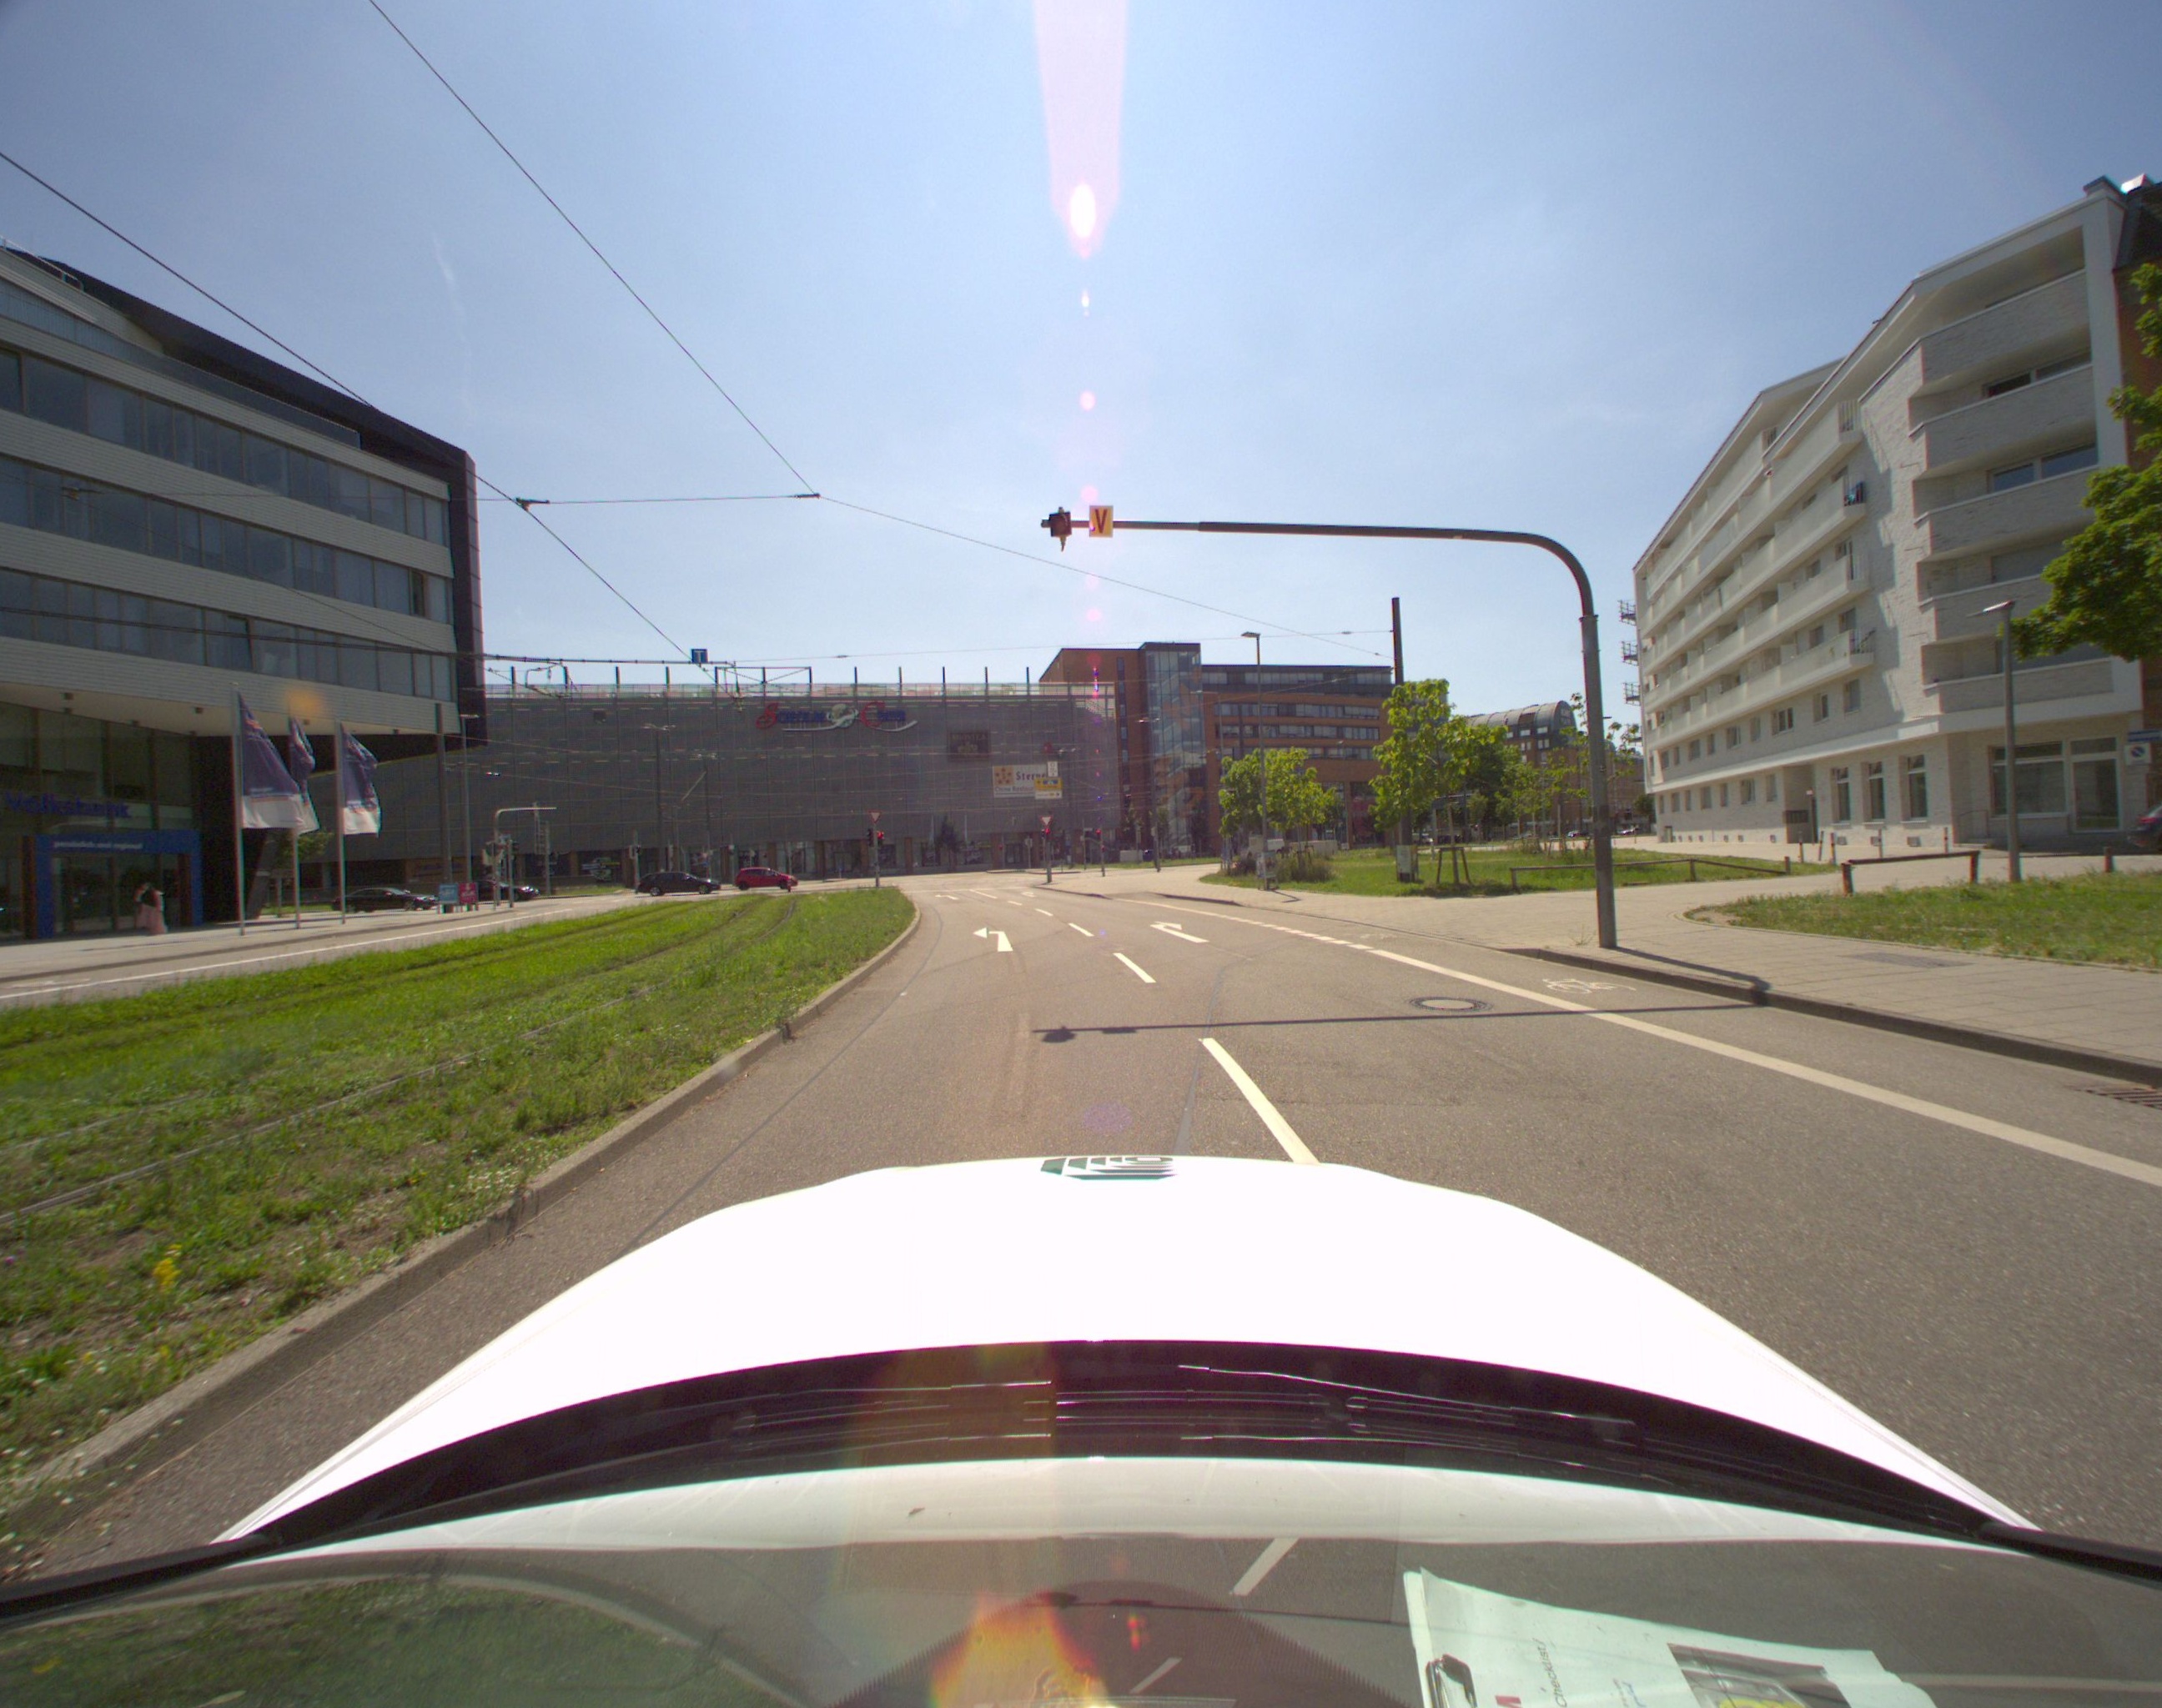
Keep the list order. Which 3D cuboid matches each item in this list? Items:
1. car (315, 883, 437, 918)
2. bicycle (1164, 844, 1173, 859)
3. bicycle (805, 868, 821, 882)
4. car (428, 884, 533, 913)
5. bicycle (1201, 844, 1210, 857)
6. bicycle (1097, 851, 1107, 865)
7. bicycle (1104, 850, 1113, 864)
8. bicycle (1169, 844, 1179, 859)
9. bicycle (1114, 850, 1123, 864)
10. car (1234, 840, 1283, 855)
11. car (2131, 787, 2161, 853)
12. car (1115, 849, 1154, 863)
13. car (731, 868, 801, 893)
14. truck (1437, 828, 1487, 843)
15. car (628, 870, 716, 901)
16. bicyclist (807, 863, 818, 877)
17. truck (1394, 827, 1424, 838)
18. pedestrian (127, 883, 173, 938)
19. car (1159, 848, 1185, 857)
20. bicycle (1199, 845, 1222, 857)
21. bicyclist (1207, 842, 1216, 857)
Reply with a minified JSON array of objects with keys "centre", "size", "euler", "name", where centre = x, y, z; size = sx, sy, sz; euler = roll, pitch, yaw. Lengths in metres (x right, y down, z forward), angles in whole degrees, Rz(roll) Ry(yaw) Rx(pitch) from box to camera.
[{"centre":[-38.606,2.519,44.742],"size":[4.559,1.576,1.989],"euler":[-2,0,-17],"name":"car"},{"centre":[11.585,-0.325,107.588],"size":[0.485,2.013,2.337],"euler":[-2,0,-11],"name":"bicycle"},{"centre":[-29.316,2.314,89.163],"size":[1.060,1.390,3.017],"euler":[-2,0,-6],"name":"bicycle"},{"centre":[-36.667,2.698,49.870],"size":[4.776,1.460,1.877],"euler":[-2,0,-17],"name":"car"},{"centre":[16.629,-0.455,108.727],"size":[0.485,1.796,2.250],"euler":[-2,0,-11],"name":"bicycle"},{"centre":[2.684,0.460,104.327],"size":[0.599,1.731,2.251],"euler":[-2,0,-12],"name":"bicycle"},{"centre":[3.515,0.417,104.512],"size":[0.599,1.731,2.251],"euler":[-2,0,-12],"name":"bicycle"},{"centre":[12.287,-0.354,107.744],"size":[0.485,2.013,2.337],"euler":[-2,0,-11],"name":"bicycle"},{"centre":[4.762,0.381,104.347],"size":[0.599,1.731,2.251],"euler":[-2,0,-12],"name":"bicycle"},{"centre":[20.956,-0.761,96.066],"size":[5.480,1.668,1.987],"euler":[-2,0,-19],"name":"car"},{"centre":[28.516,-0.888,19.511],"size":[1.703,1.624,4.084],"euler":[-2,0,-37],"name":"car"},{"centre":[5.896,0.231,89.886],"size":[3.994,1.442,1.735],"euler":[-2,0,-15],"name":"car"},{"centre":[-20.912,1.737,54.247],"size":[4.136,1.508,1.831],"euler":[-2,0,-18],"name":"car"},{"centre":[75.822,-3.663,162.350],"size":[2.008,2.809,9.142],"euler":[-2,0,-34],"name":"truck"},{"centre":[-24.831,1.881,49.637],"size":[4.542,1.508,1.829],"euler":[-3,1,-21],"name":"car"},{"centre":[-29.301,1.741,88.889],"size":[1.038,1.571,0.775],"euler":[-2,0,-7],"name":"bicyclist"},{"centre":[65.166,-4.182,161.954],"size":[1.891,2.013,5.318],"euler":[-2,0,-38],"name":"truck"},{"centre":[-28.862,1.735,25.270],"size":[0.753,1.630,0.905],"euler":[-2,0,-38],"name":"pedestrian"},{"centre":[11.648,-0.188,104.539],"size":[3.000,1.035,1.342],"euler":[-2,0,-17],"name":"car"},{"centre":[17.178,-0.363,107.982],"size":[2.851,1.557,0.702],"euler":[-2,0,-12],"name":"bicycle"},{"centre":[17.258,-0.616,108.001],"size":[0.913,2.013,0.745],"euler":[-2,0,-12],"name":"bicyclist"}]
